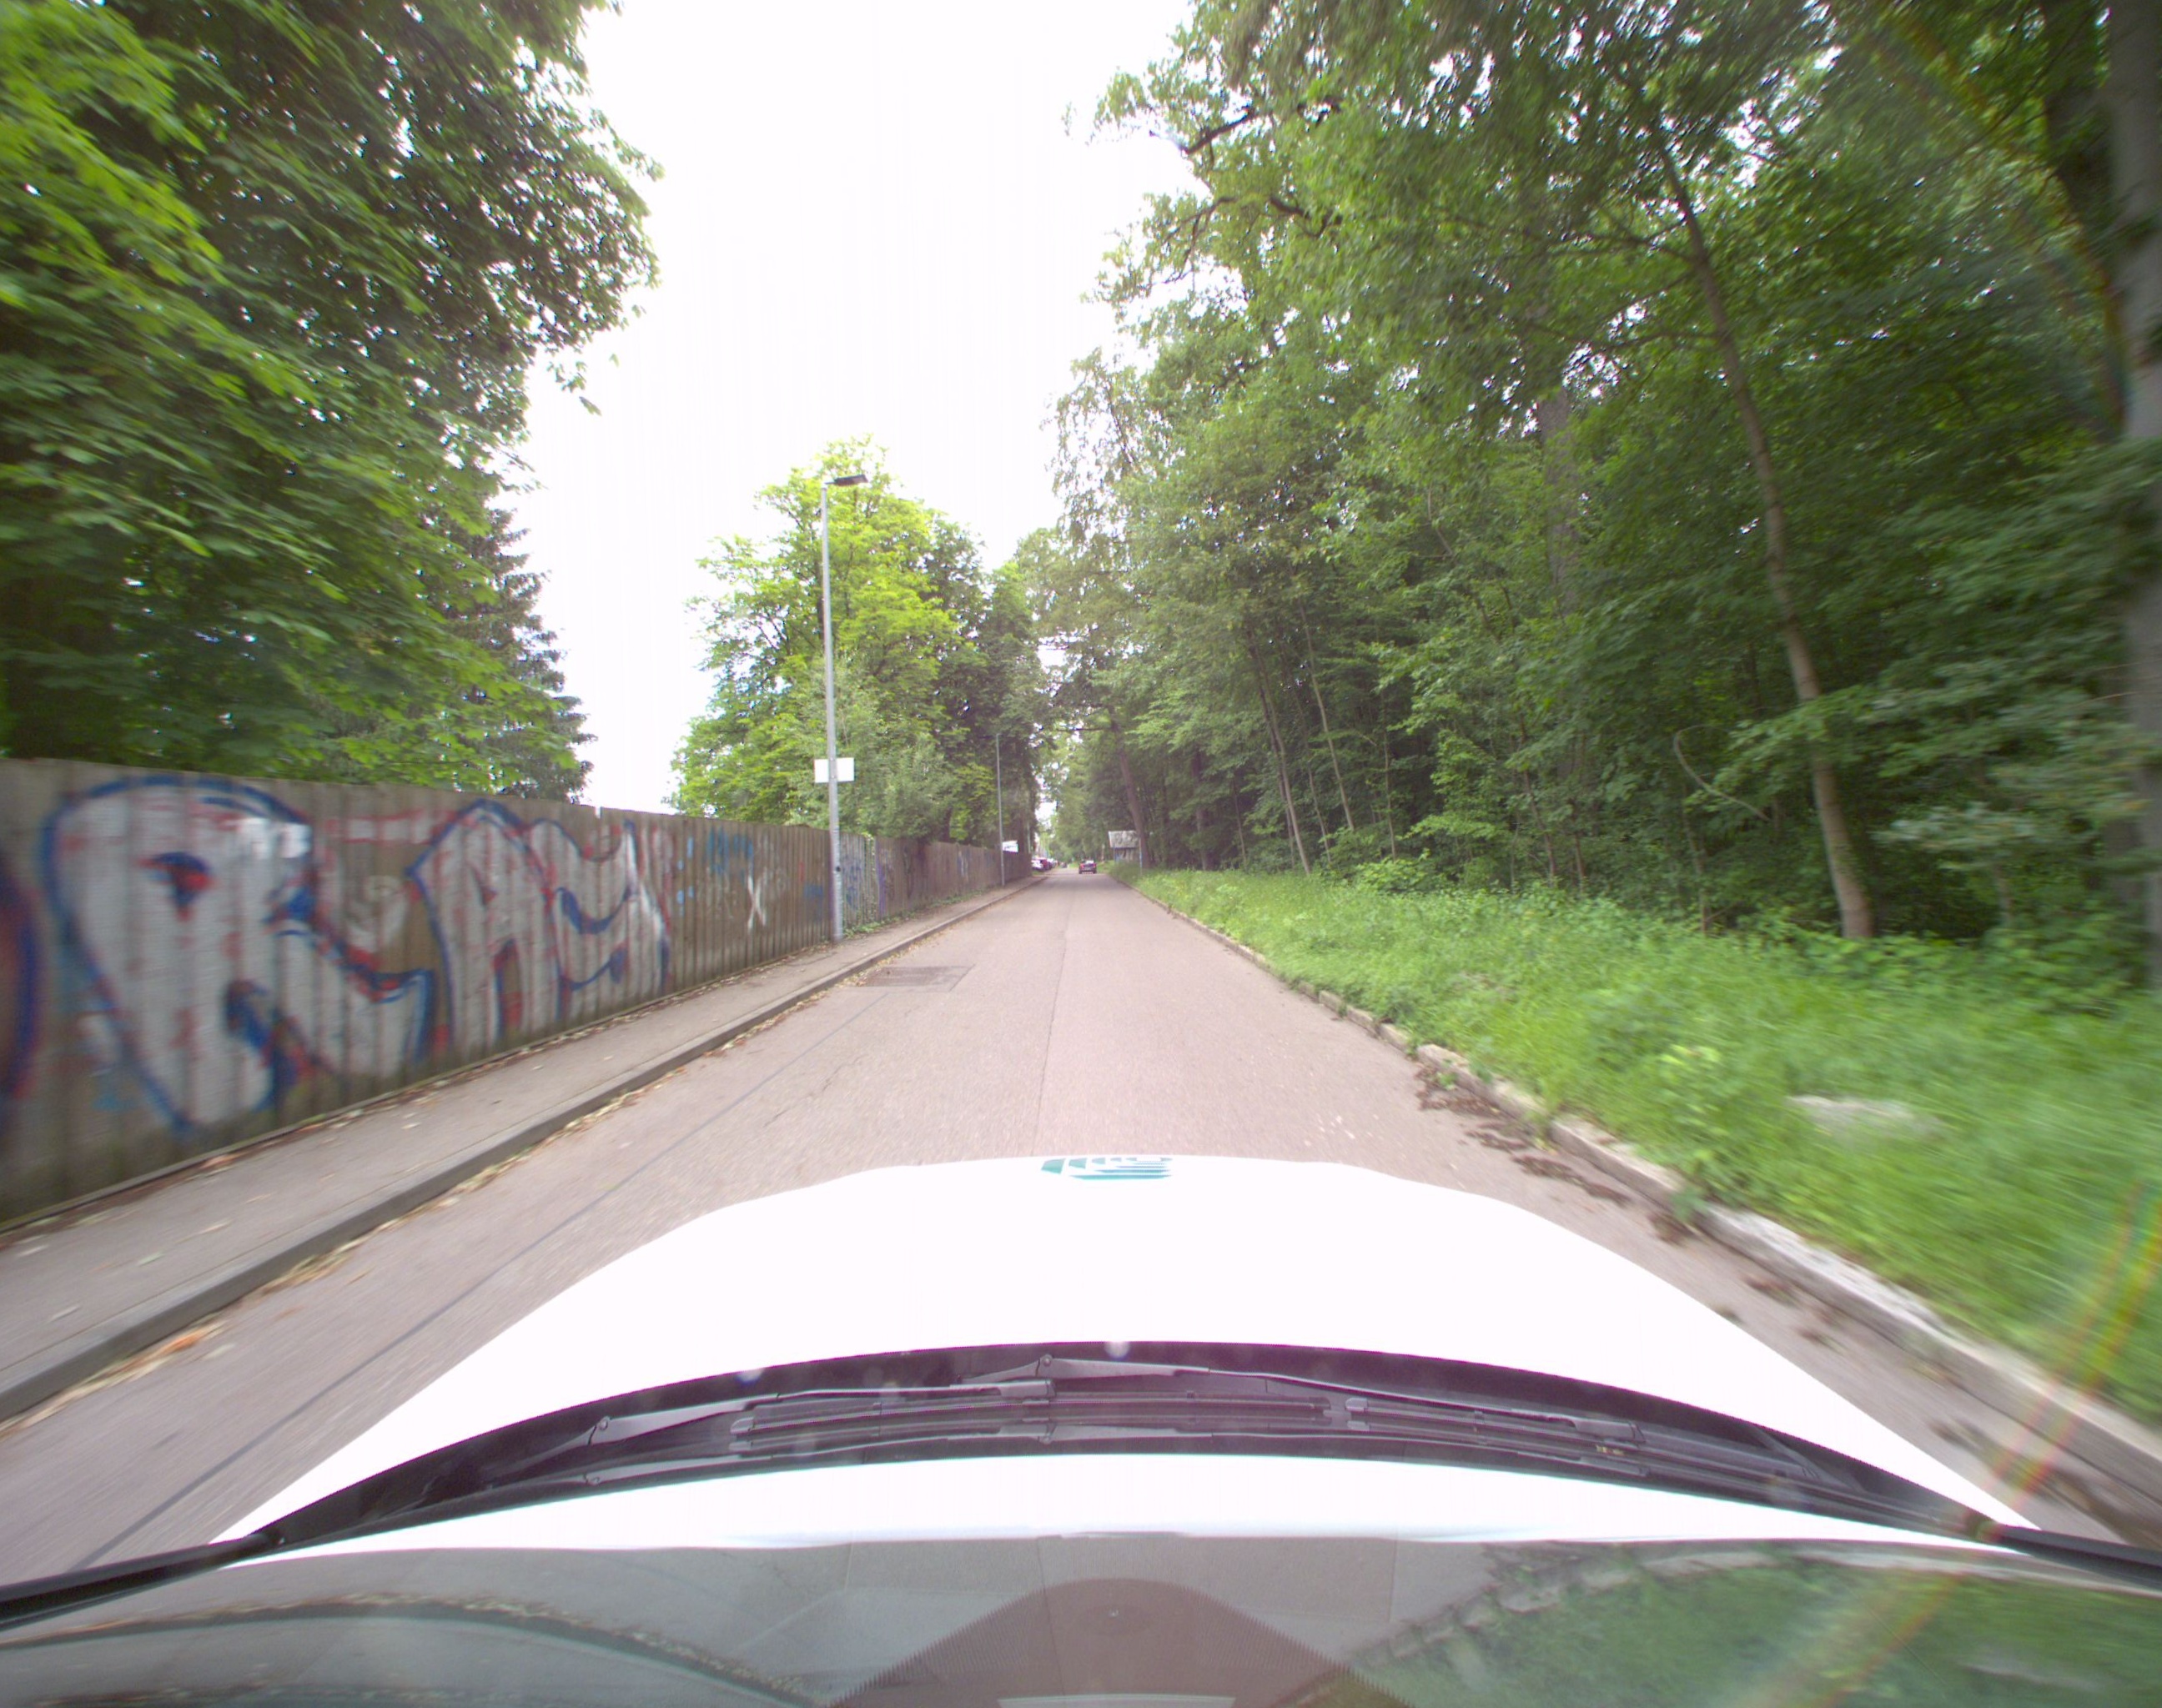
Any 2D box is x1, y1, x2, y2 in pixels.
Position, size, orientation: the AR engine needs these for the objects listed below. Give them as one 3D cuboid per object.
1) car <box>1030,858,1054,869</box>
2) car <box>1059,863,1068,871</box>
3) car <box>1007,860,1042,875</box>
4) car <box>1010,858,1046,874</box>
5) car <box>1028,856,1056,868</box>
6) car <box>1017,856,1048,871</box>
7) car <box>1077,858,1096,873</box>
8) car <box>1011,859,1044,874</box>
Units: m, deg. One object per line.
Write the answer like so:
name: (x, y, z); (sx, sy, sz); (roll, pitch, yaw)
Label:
car: (-6.758, 1.570, 140.805); (3.975, 1.596, 1.764); (-4, -1, -1)
car: (-4.845, 3.448, 221.210); (1.991, 2.013, 3.992); (-3, -1, -6)
car: (-6.611, 1.581, 95.328); (3.980, 1.574, 1.997); (-3, -1, -4)
car: (-6.050, 1.326, 93.012); (3.980, 1.574, 1.997); (-3, 0, -4)
car: (-5.953, 1.205, 124.745); (3.975, 1.596, 1.764); (-4, -1, -1)
car: (-6.285, 1.258, 106.092); (3.980, 1.750, 1.997); (-3, -1, -4)
car: (0.603, 1.159, 82.879); (1.901, 1.508, 4.000); (0, -1, 1)
car: (-6.657, 1.538, 100.954); (3.980, 1.574, 1.997); (-3, -1, -4)
